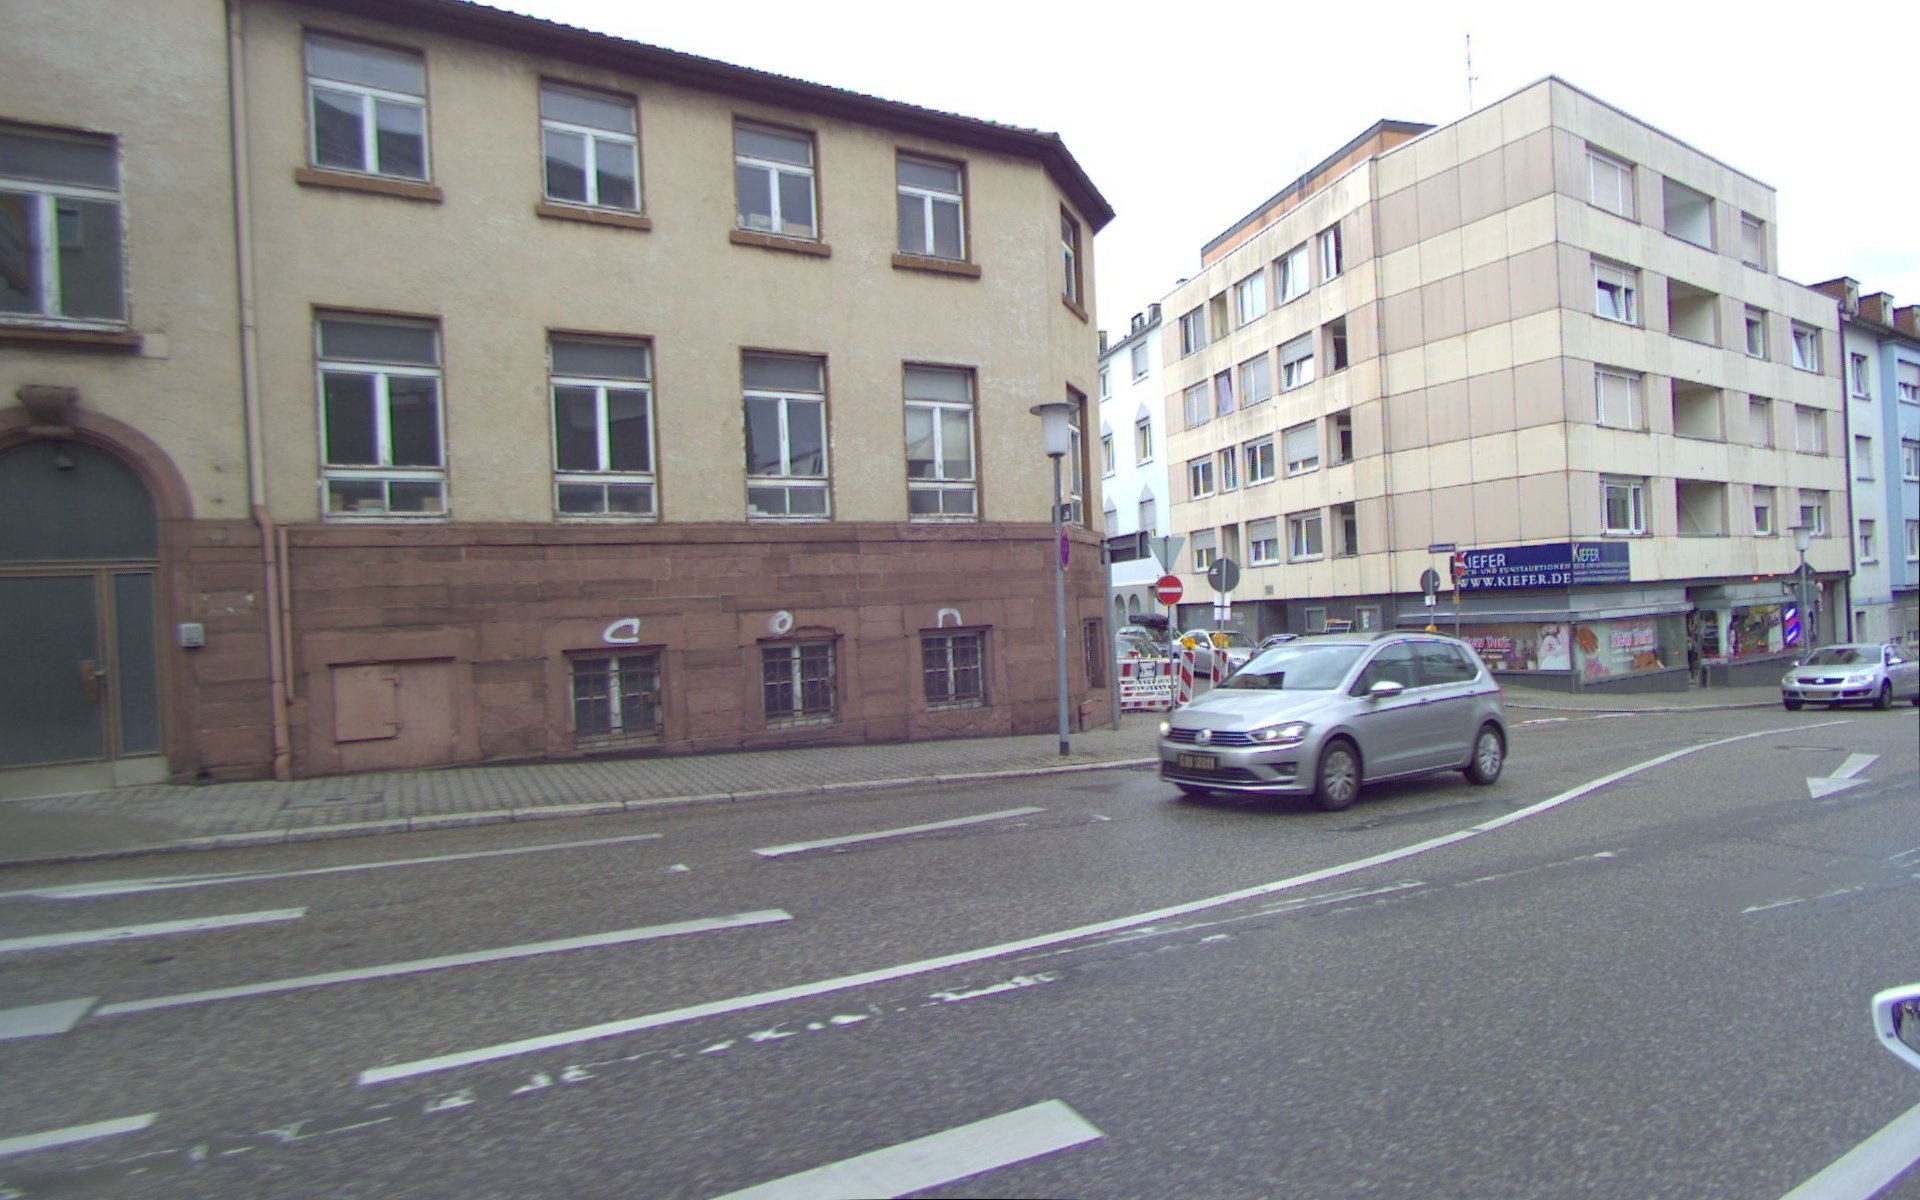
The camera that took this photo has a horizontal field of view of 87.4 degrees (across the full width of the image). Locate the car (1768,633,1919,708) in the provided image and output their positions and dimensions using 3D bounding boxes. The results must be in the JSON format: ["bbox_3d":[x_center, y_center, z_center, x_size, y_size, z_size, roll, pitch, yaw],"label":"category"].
[{"bbox_3d":[20.254,1.589,22.769,4.596,1.558,1.734,2,-5,-35],"label":"car"}]

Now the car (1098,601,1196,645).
[{"bbox_3d":[6.895,0.831,37.542,1.867,1.532,4.332,1,-1,-16],"label":"car"}]

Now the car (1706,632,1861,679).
[{"bbox_3d":[29.313,1.952,35.860,1.781,1.519,3.963,2,-2,-34],"label":"car"}]

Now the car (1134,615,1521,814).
[{"bbox_3d":[3.794,1.058,10.102,4.106,1.606,1.702,3,-5,-38],"label":"car"}]

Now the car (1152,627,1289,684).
[{"bbox_3d":[7.765,1.634,30.421,1.870,1.532,4.326,1,-1,-21],"label":"car"}]

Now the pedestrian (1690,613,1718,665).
[{"bbox_3d":[26.188,1.371,35.366,0.566,1.753,0.595,-4,1,-35],"label":"pedestrian"}]

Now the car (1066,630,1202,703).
[{"bbox_3d":[4.318,1.617,25.493,1.701,1.531,3.984,-2,0,-18],"label":"car"}]

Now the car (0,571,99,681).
[{"bbox_3d":[-25.123,0.763,24.624,5.538,2.593,2.127,-4,1,-16],"label":"car"}]

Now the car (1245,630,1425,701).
[{"bbox_3d":[9.292,1.578,25.274,1.870,1.532,4.326,1,-1,-21],"label":"car"}]
